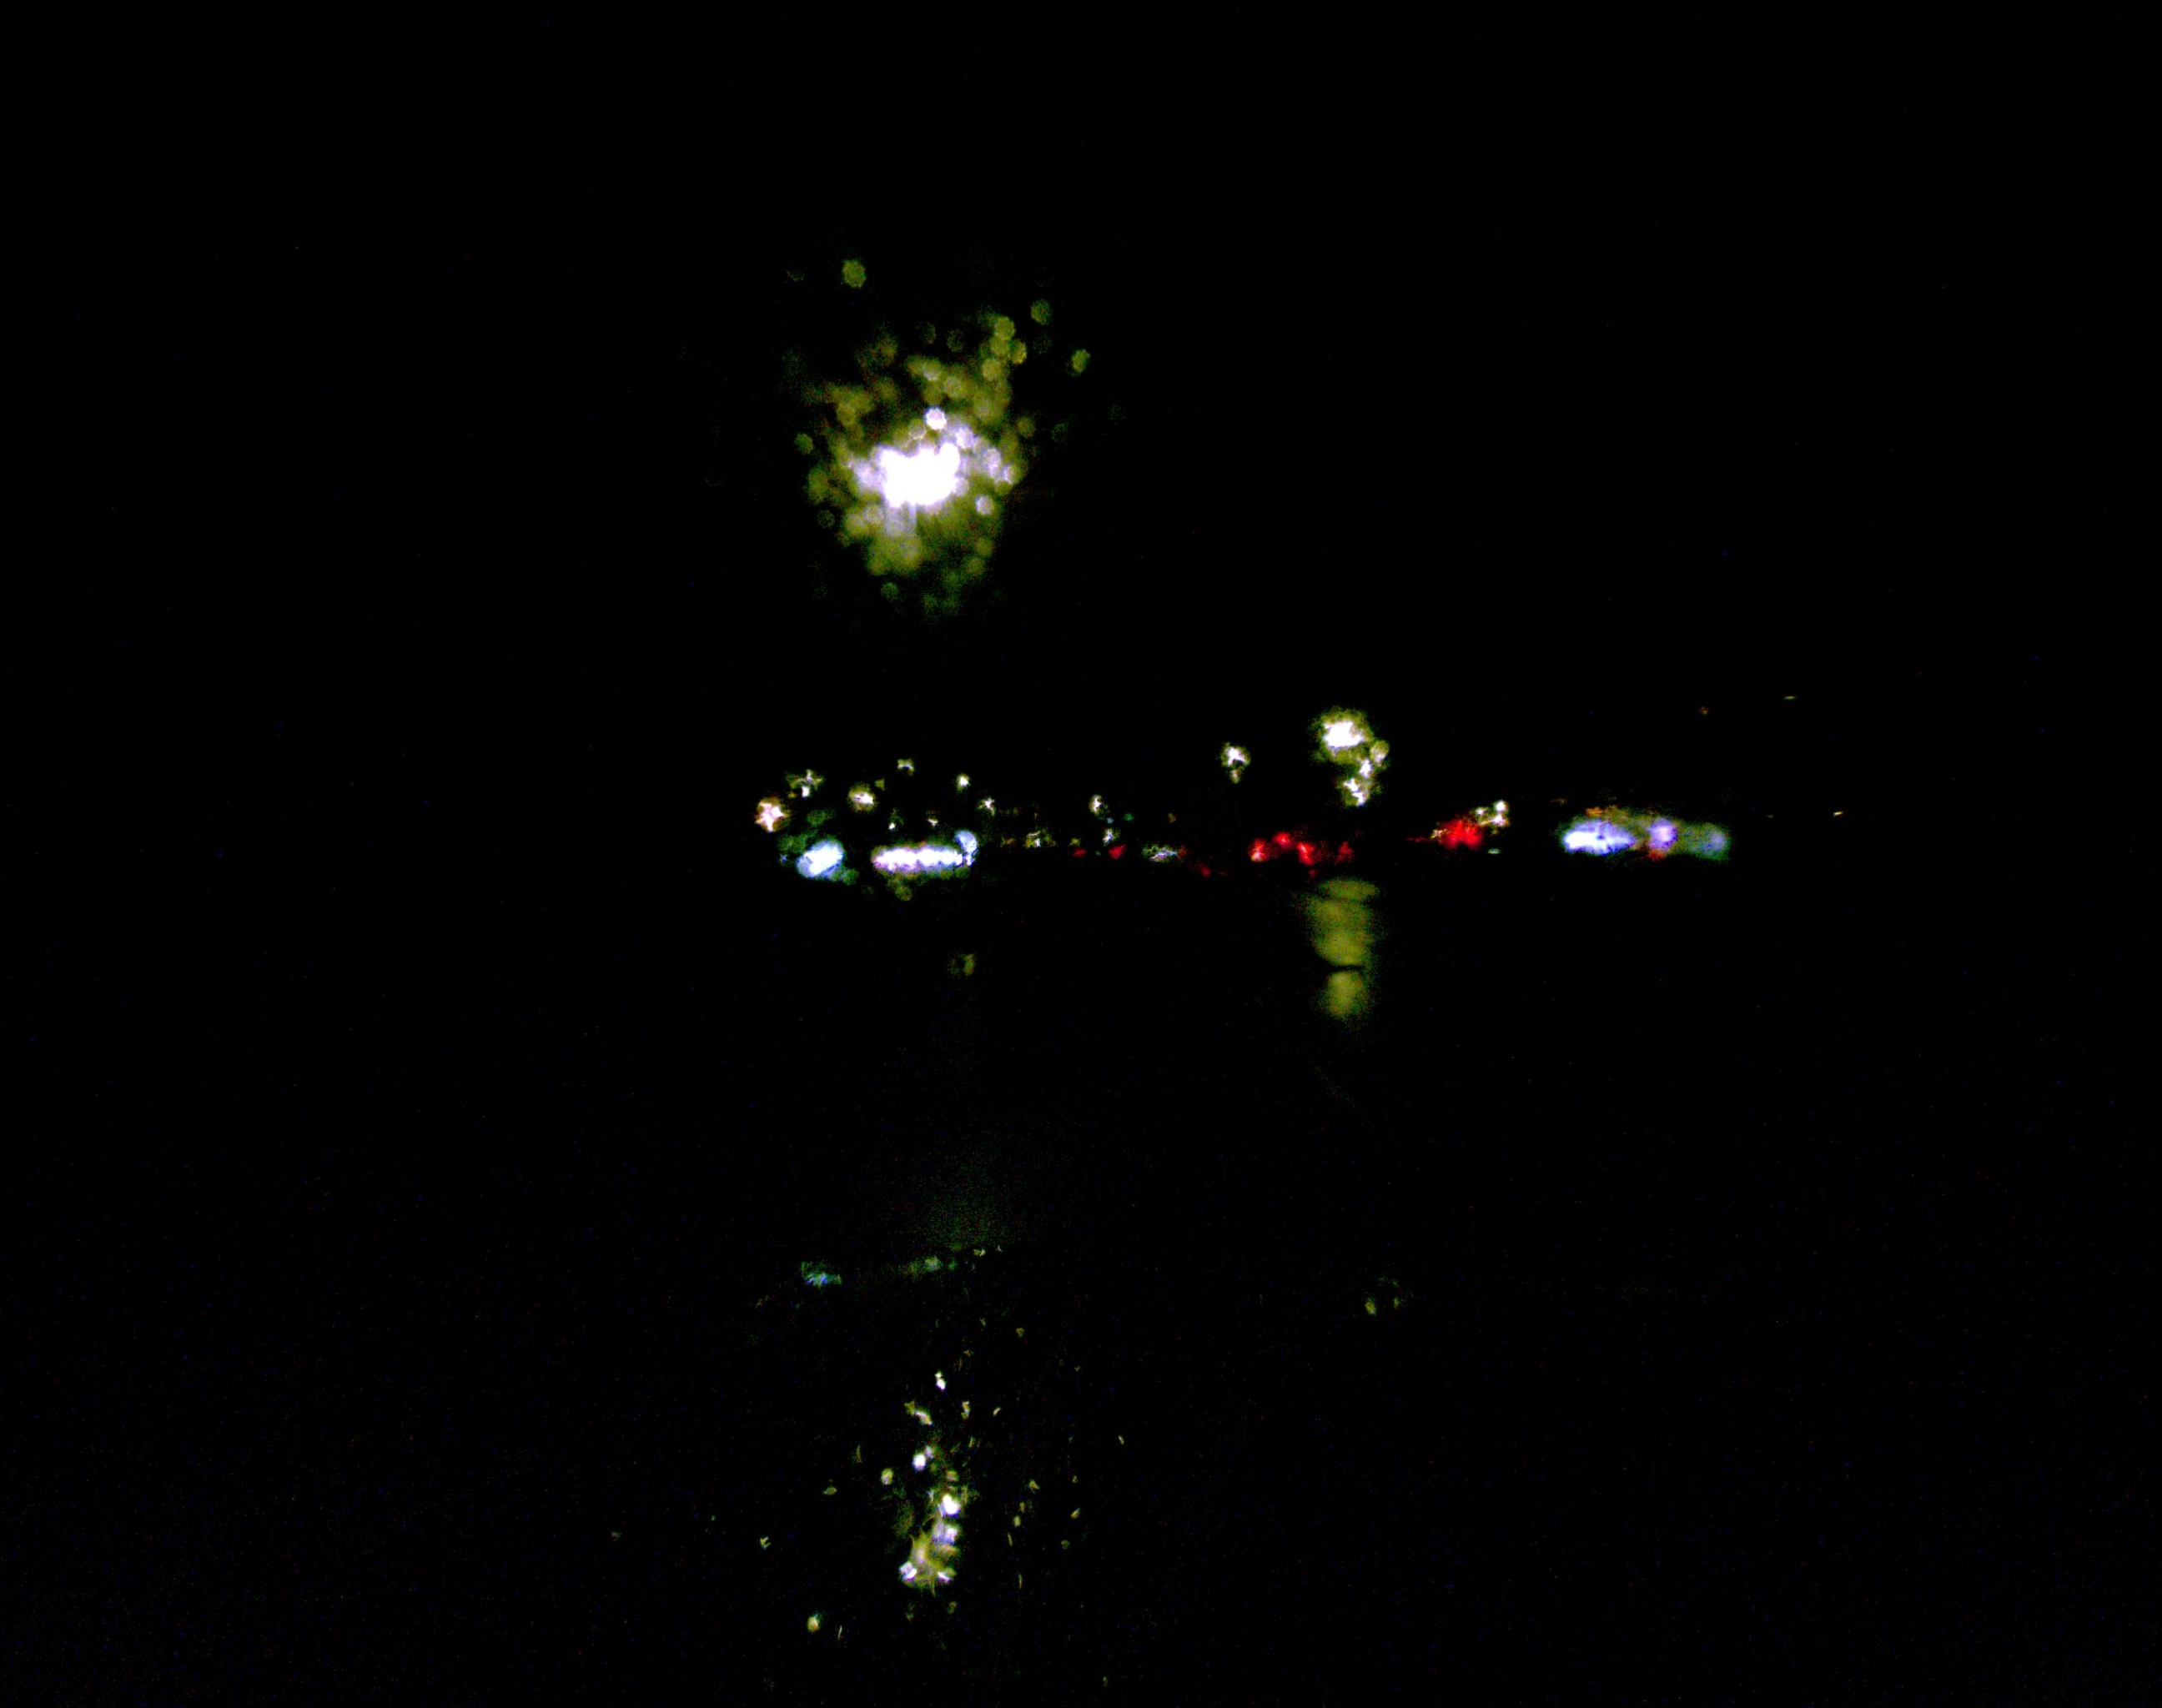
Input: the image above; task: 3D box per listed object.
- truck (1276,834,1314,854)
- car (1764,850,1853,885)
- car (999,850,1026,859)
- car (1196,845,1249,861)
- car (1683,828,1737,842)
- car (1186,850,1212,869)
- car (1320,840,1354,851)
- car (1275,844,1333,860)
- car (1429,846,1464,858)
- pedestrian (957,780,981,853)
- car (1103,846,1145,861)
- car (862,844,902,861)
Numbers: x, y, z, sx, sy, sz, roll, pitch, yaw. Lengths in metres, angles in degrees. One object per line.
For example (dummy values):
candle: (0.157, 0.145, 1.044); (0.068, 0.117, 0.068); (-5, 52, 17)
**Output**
truck: (27.301, -1.281, 96.821); (2.316, 2.383, 7.828); (1, 2, 34)
car: (30.203, 0.510, 31.677); (1.533, 1.328, 3.827); (0, 1, 25)
car: (-11.773, 0.011, 130.819); (4.191, 1.457, 1.996); (-1, 1, -26)
car: (14.536, -0.137, 77.964); (5.104, 1.457, 1.996); (-1, 1, -21)
car: (73.758, -2.228, 89.164); (4.420, 1.612, 2.003); (0, 2, 25)
car: (10.118, 0.457, 65.283); (1.997, 1.447, 4.305); (3, 2, 8)
car: (37.391, -1.274, 111.012); (4.417, 1.524, 2.003); (0, 2, 25)
car: (25.868, -0.262, 88.201); (6.446, 1.805, 1.997); (-1, 1, -16)
car: (50.849, -0.282, 105.766); (4.420, 1.612, 2.003); (0, 1, 25)
pedestrian: (-3.212, -1.059, 21.790); (0.550, 1.999, 0.743); (0, -6, 0)
car: (4.682, -0.105, 83.625); (4.430, 1.612, 1.999); (0, 1, -4)
car: (-20.857, -0.174, 79.485); (3.988, 1.775, 2.004); (1, 2, 39)
